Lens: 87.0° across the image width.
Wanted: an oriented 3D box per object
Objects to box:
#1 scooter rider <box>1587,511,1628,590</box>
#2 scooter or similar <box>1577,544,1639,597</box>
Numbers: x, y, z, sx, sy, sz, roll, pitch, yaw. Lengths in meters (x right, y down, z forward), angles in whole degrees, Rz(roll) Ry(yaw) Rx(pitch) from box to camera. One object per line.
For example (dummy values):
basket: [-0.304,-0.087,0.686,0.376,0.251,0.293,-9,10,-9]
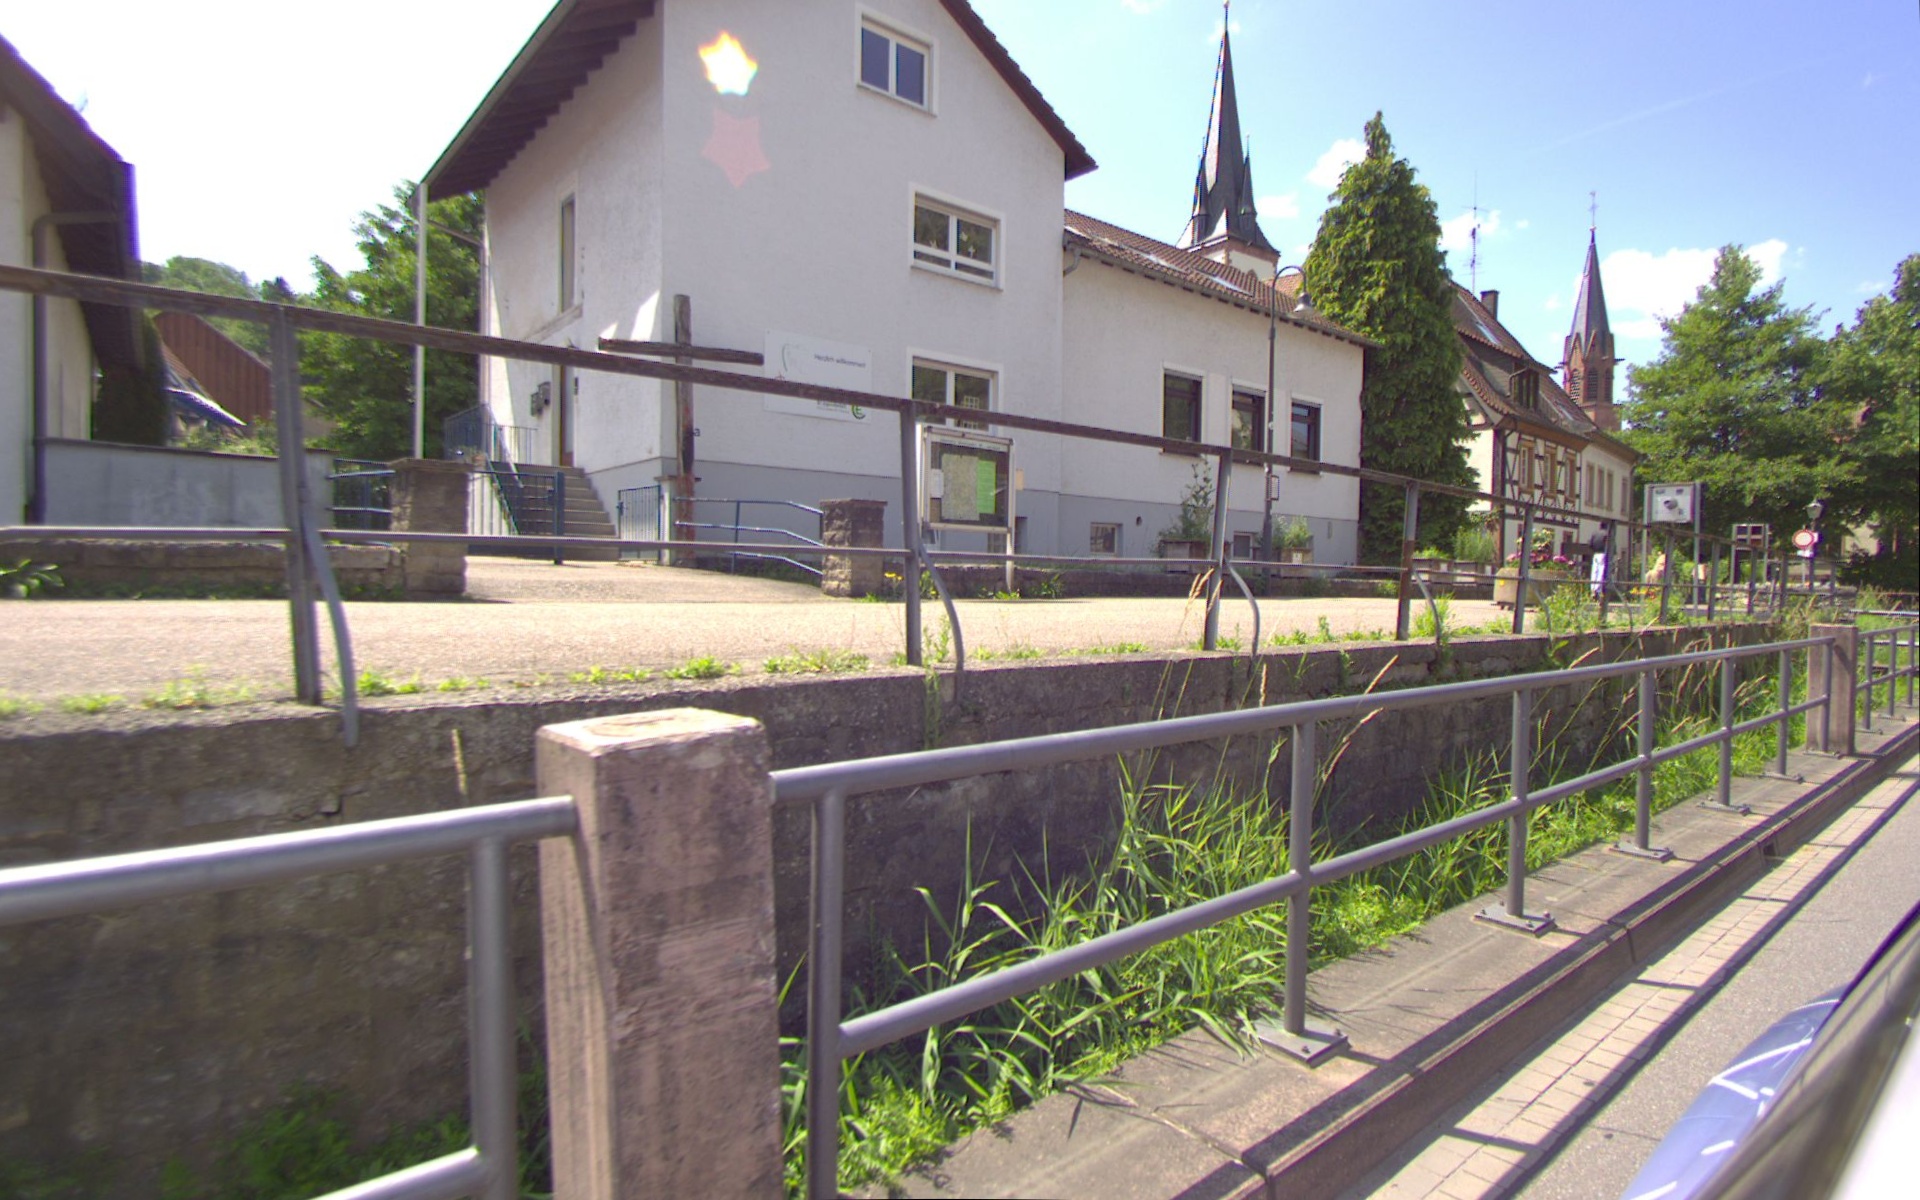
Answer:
scooter rider: [14.580,-1.109,22.787,0.544,1.753,0.642,0,1,-40]
scooter or similar: [14.620,-0.668,22.809,1.779,1.156,0.643,-1,3,-40]
